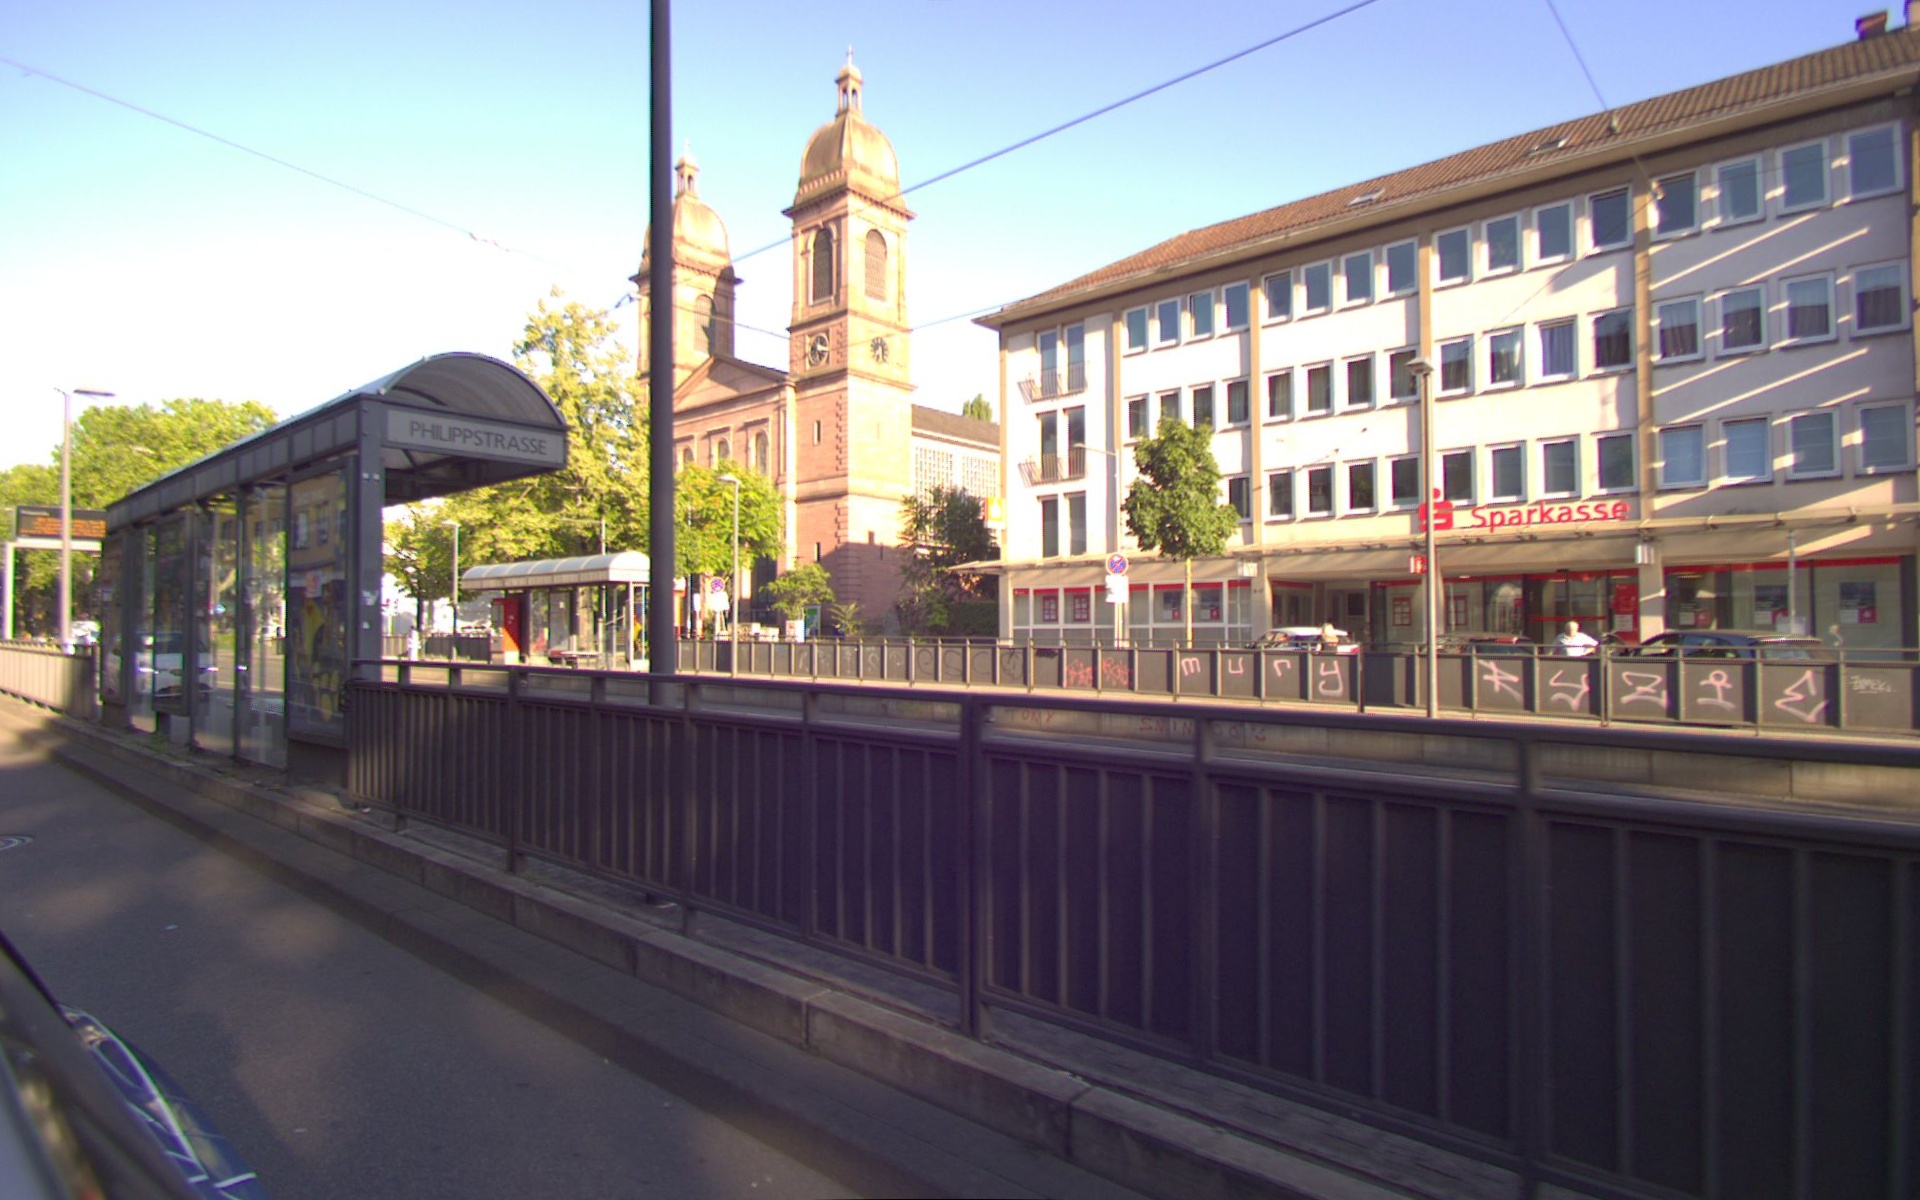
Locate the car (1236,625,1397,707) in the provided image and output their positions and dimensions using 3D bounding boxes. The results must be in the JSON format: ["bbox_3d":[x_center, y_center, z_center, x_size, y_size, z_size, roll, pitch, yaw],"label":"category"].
[{"bbox_3d":[7.753,1.383,22.418,1.716,1.497,4.006,-1,0,-7],"label":"car"}]

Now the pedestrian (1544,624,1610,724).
[{"bbox_3d":[11.546,1.361,18.965,0.757,1.801,0.725,-1,0,-2],"label":"pedestrian"}]

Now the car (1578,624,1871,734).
[{"bbox_3d":[13.035,1.266,17.625,1.841,1.541,4.005,-1,0,-5],"label":"car"}]
